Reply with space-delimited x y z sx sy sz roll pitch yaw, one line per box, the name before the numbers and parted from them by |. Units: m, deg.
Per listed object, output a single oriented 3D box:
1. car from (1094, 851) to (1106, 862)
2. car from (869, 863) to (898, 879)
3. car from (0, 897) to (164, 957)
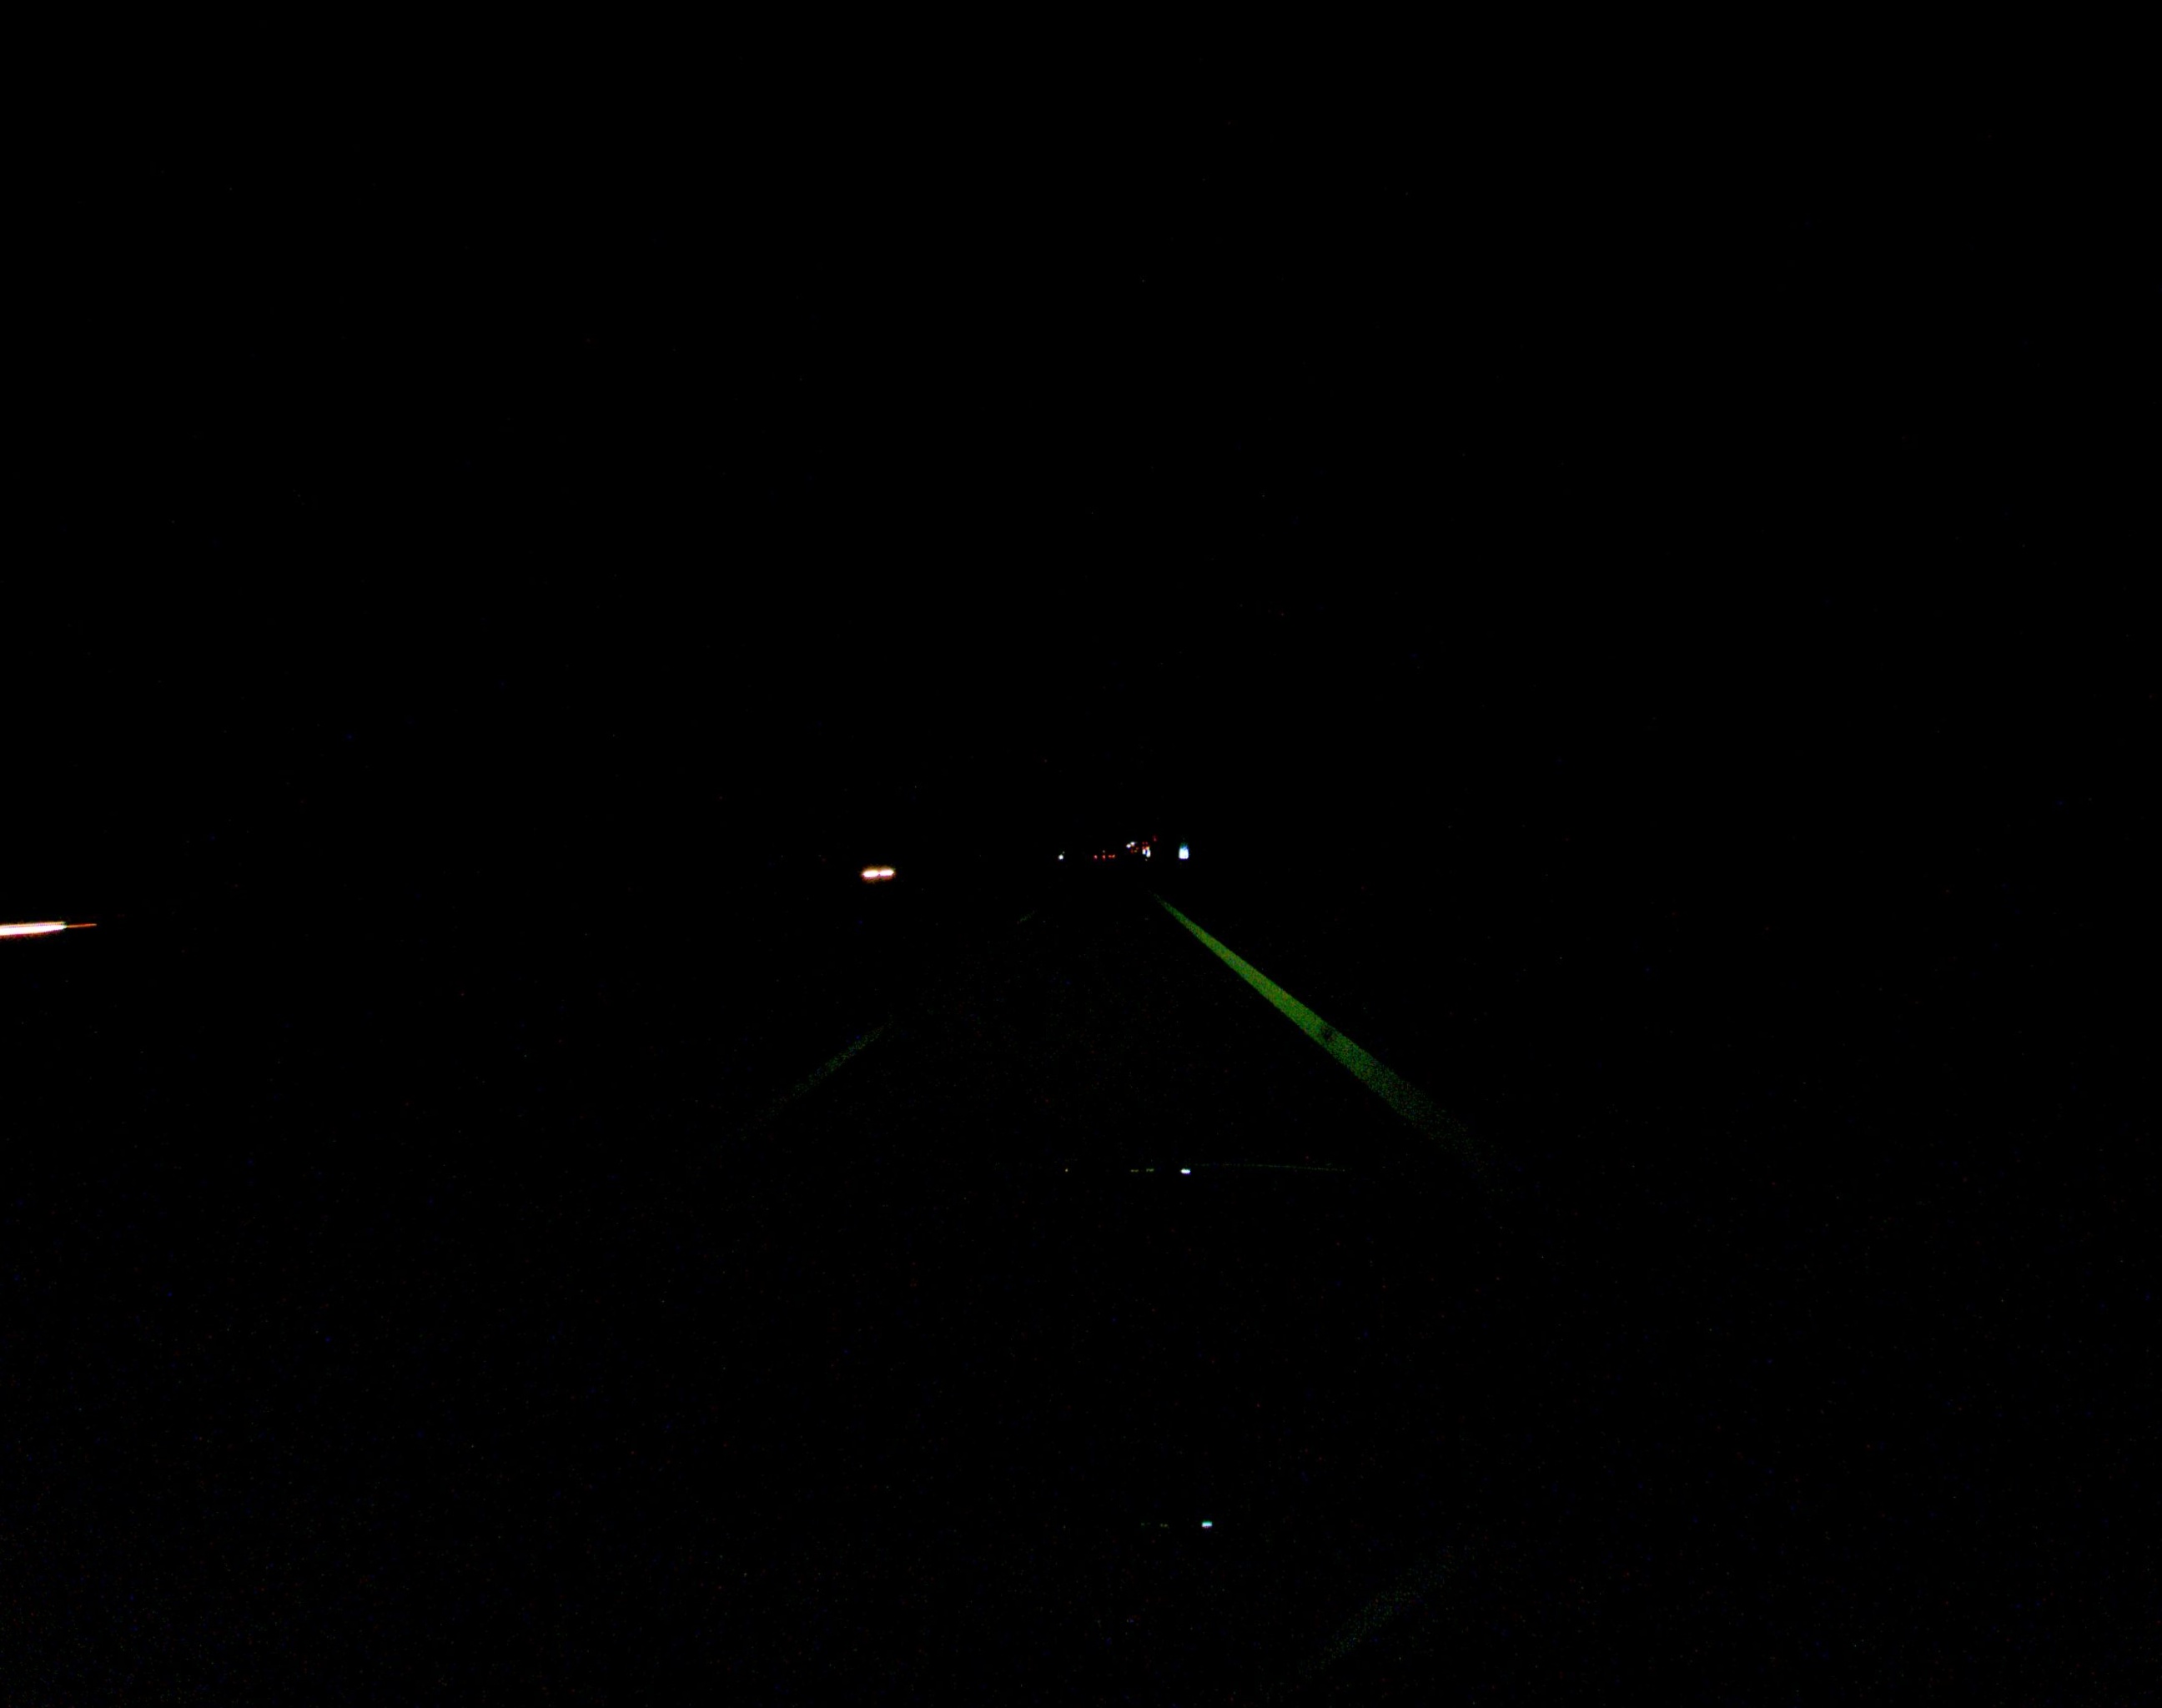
car | 4.099 0.515 177.171 2.501 2.314 4.973 -1 0 2
car | -16.835 1.463 69.618 1.587 1.264 3.998 -1 0 -1
car | -26.965 1.877 21.246 1.587 1.264 3.998 -1 0 -1
